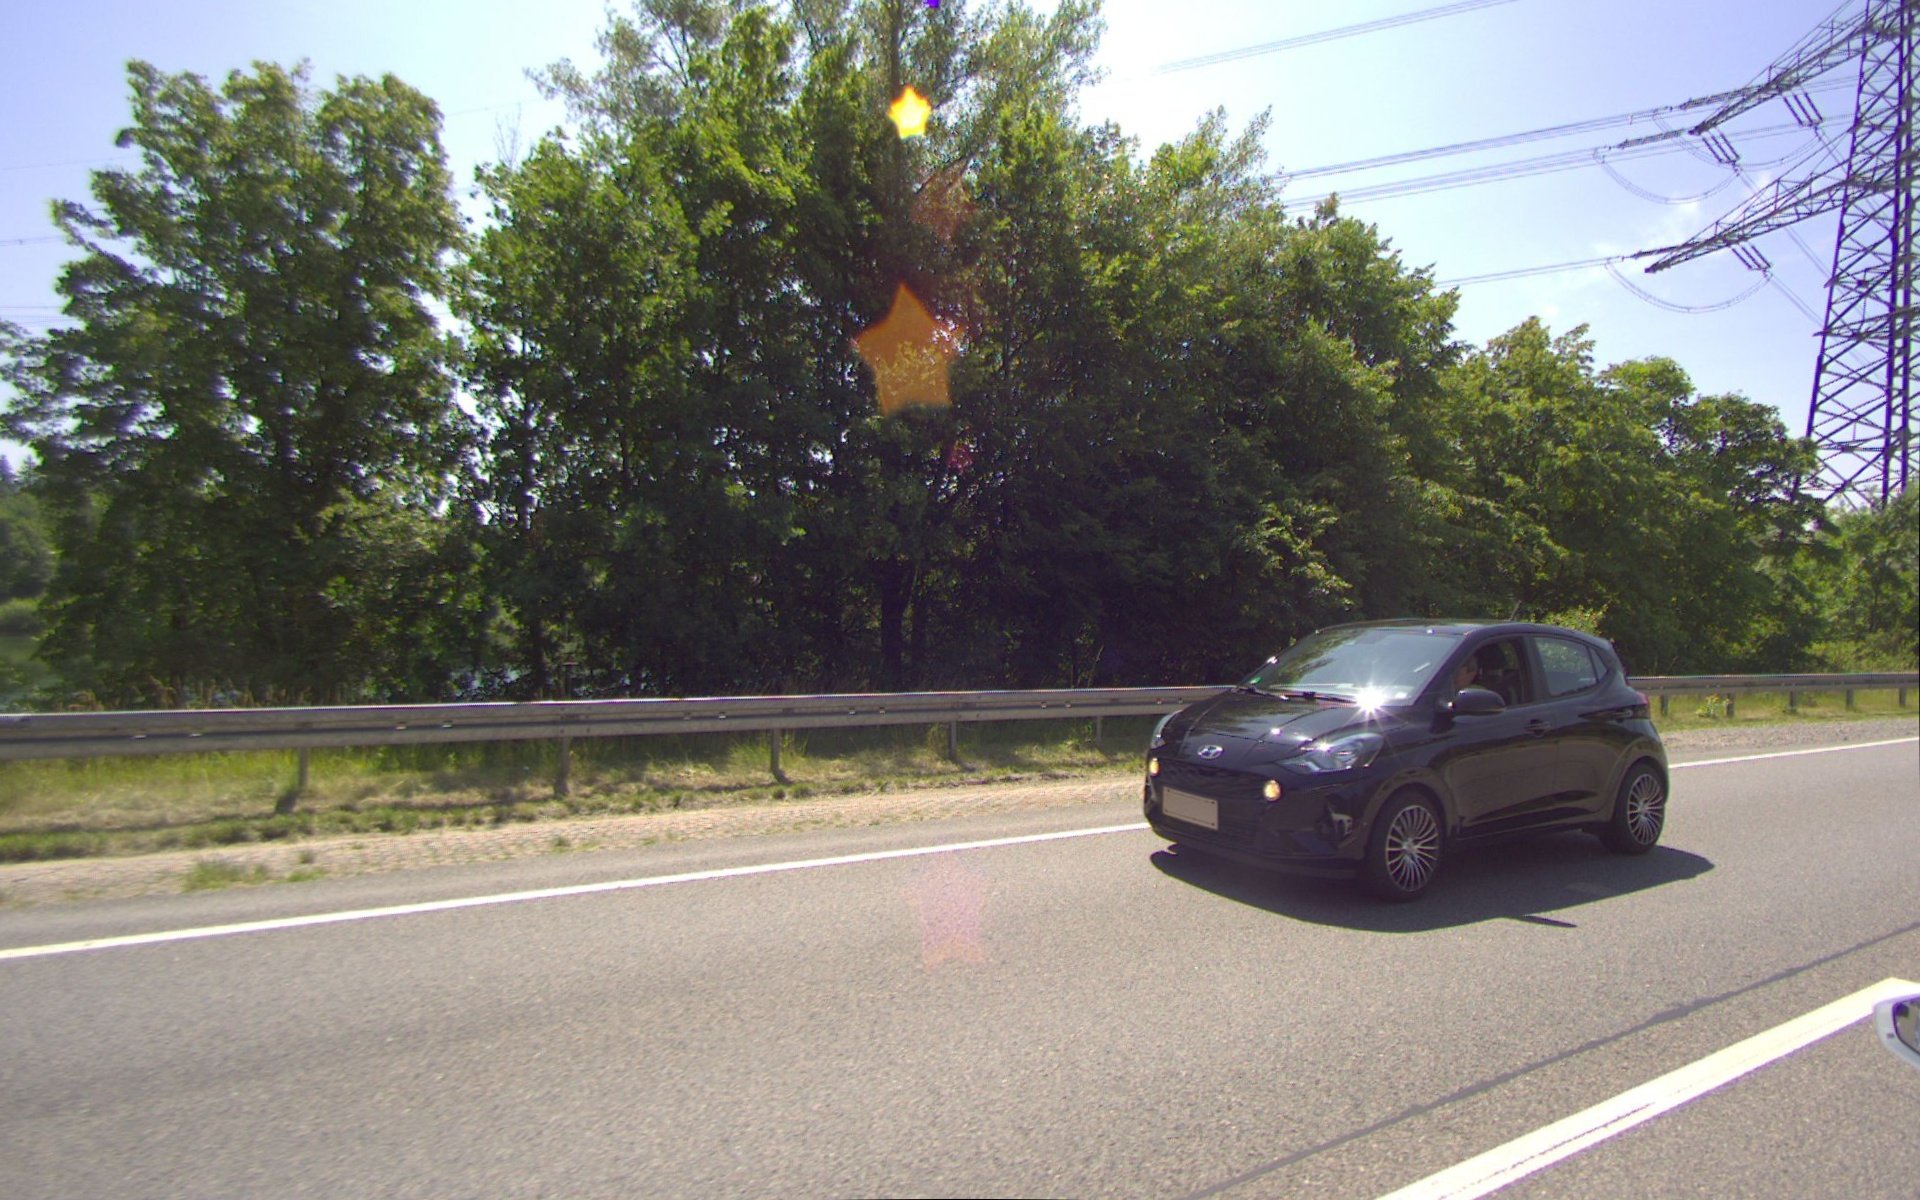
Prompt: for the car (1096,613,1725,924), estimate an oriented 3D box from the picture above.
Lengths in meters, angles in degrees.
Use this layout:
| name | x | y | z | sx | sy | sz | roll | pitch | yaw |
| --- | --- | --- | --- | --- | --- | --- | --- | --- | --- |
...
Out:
| name | x | y | z | sx | sy | sz | roll | pitch | yaw |
| --- | --- | --- | --- | --- | --- | --- | --- | --- | --- |
| car | 3.025 | 0.850 | 6.505 | 4.131 | 1.456 | 1.626 | 2 | -1 | -30 |
